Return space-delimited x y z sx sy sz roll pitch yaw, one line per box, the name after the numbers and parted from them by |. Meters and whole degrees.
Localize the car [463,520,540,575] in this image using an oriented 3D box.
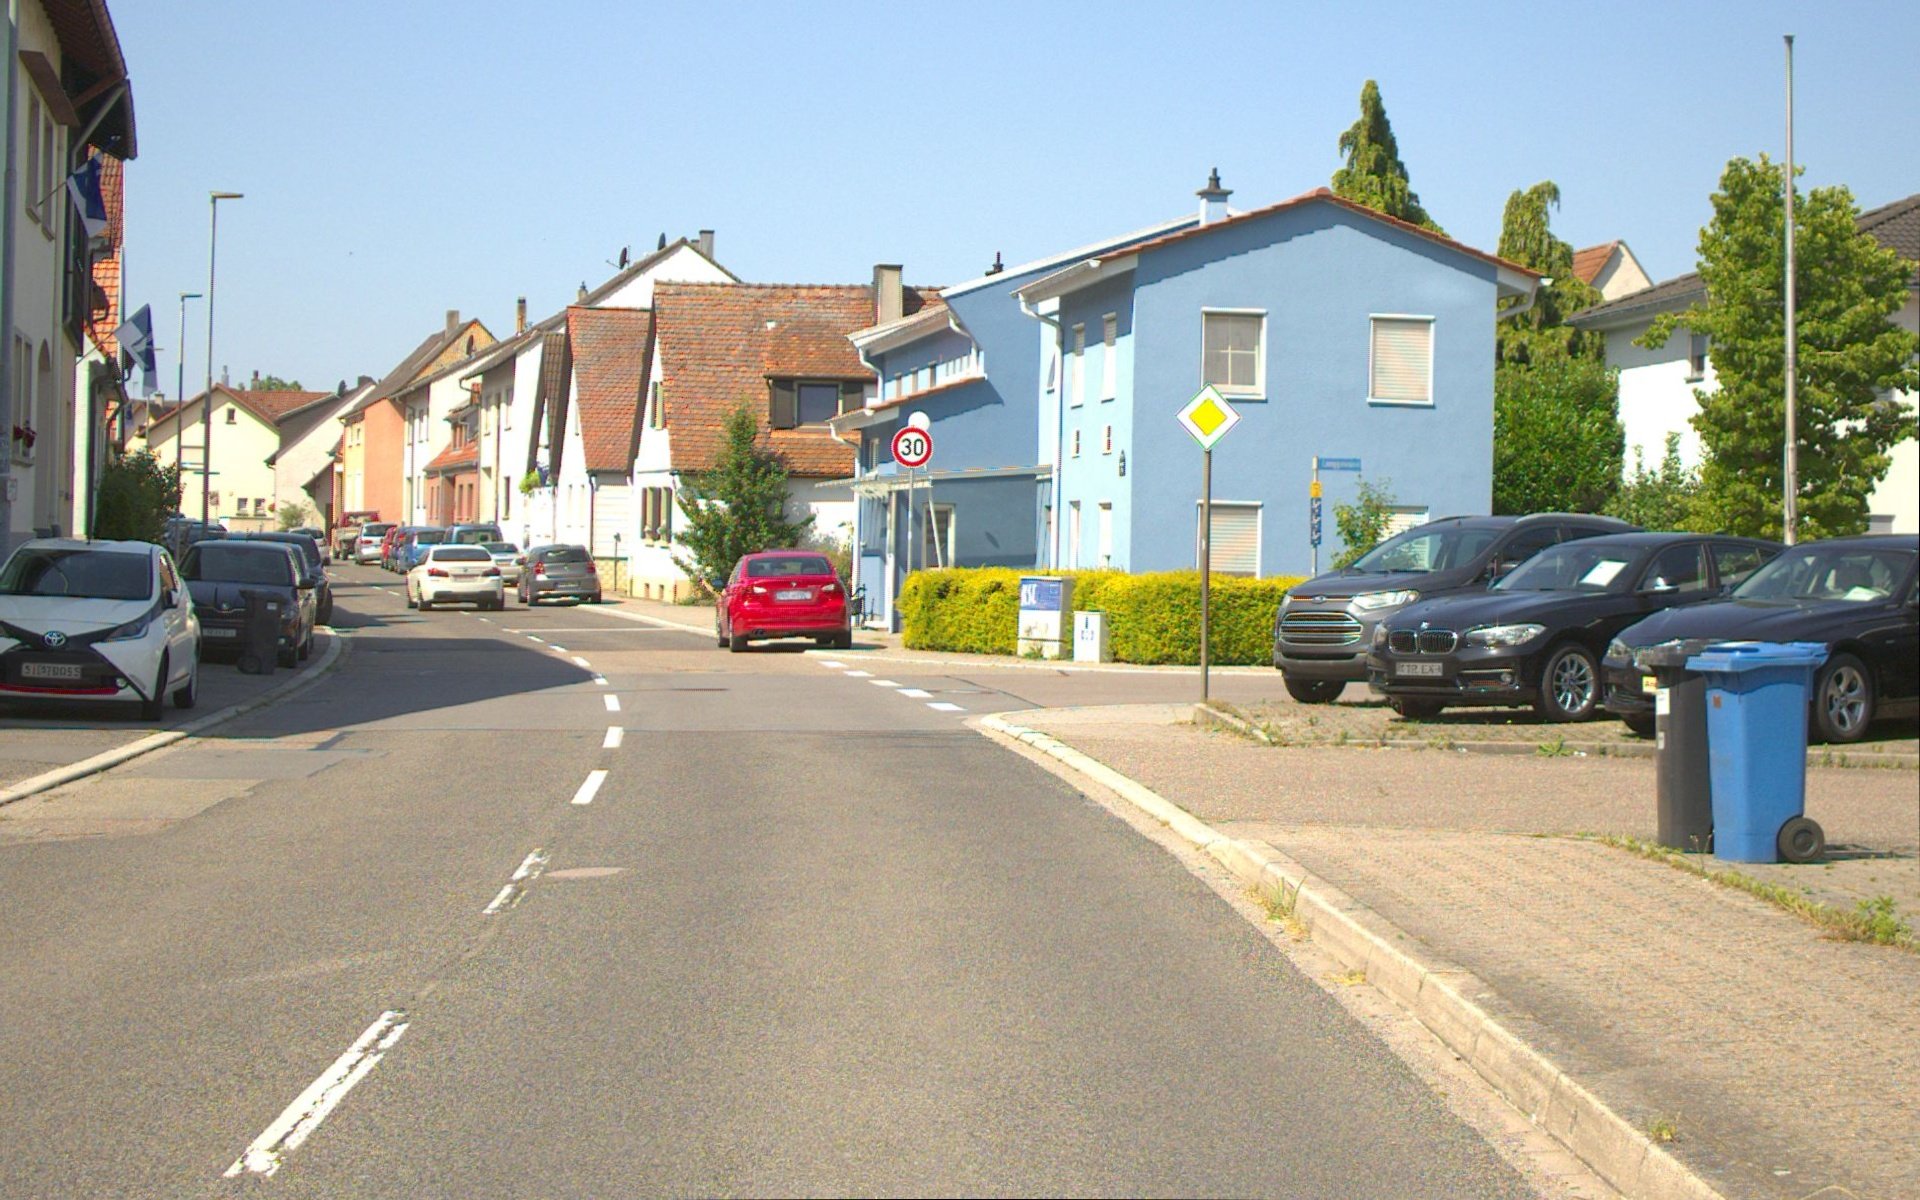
-13.136 -1.513 98.306 1.704 1.491 3.453 2 1 -15 | car

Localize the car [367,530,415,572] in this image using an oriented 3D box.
-21.684 -1.884 130.954 1.420 1.510 3.305 2 1 -15 | car

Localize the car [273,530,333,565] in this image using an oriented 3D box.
-24.942 -1.987 130.513 1.993 1.284 3.805 1 1 -14 | car

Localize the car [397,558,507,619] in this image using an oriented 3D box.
-11.293 -0.274 76.273 1.993 1.284 4.001 1 1 -14 | car

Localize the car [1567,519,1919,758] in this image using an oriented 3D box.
6.461 0.226 24.775 4.228 1.560 1.983 0 1 -44 | car

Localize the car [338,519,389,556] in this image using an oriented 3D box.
-24.138 -2.518 139.075 1.766 1.428 3.451 1 1 -14 | car

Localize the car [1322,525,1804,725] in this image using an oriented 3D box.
4.756 0.156 26.860 3.863 1.442 1.750 0 1 -44 | car

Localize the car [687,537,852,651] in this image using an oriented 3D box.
-2.861 -0.126 50.755 1.732 1.489 4.356 0 3 -13 | car

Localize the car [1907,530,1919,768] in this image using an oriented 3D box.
8.448 0.330 23.103 4.305 1.545 1.983 0 1 -42 | car

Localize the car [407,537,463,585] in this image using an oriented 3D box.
-17.365 -1.311 113.635 1.420 1.510 3.305 2 1 -15 | car

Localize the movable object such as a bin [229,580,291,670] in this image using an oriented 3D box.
-7.766 0.277 38.124 0.551 0.925 0.826 5 0 -14 | movable object such as a bin

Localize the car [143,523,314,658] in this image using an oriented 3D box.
-8.769 -0.129 41.479 1.678 1.432 3.997 4 0 -9 | car

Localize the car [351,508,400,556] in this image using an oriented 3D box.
-24.560 -2.852 144.401 1.766 1.997 3.451 1 1 -14 | car

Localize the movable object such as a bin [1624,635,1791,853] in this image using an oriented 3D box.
3.303 0.629 15.208 0.557 0.933 0.515 0 1 -10 | movable object such as a bin

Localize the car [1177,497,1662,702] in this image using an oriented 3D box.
4.001 -0.032 29.605 4.102 1.647 1.830 0 1 -40 | car

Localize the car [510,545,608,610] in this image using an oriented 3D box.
-9.555 -0.553 81.696 1.704 1.428 3.891 2 1 -15 | car

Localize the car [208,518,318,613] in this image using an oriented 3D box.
-13.417 -0.672 66.195 1.919 1.662 4.667 3 0 -12 | car

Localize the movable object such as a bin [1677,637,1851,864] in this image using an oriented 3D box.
3.433 0.636 14.698 0.557 0.936 0.515 0 1 -10 | movable object such as a bin

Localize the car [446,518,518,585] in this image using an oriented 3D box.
-14.375 -1.476 103.365 1.649 1.903 3.627 2 1 -15 | car

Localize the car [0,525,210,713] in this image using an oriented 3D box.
-7.439 0.127 29.184 1.683 1.457 3.650 2 0 -6 | car
